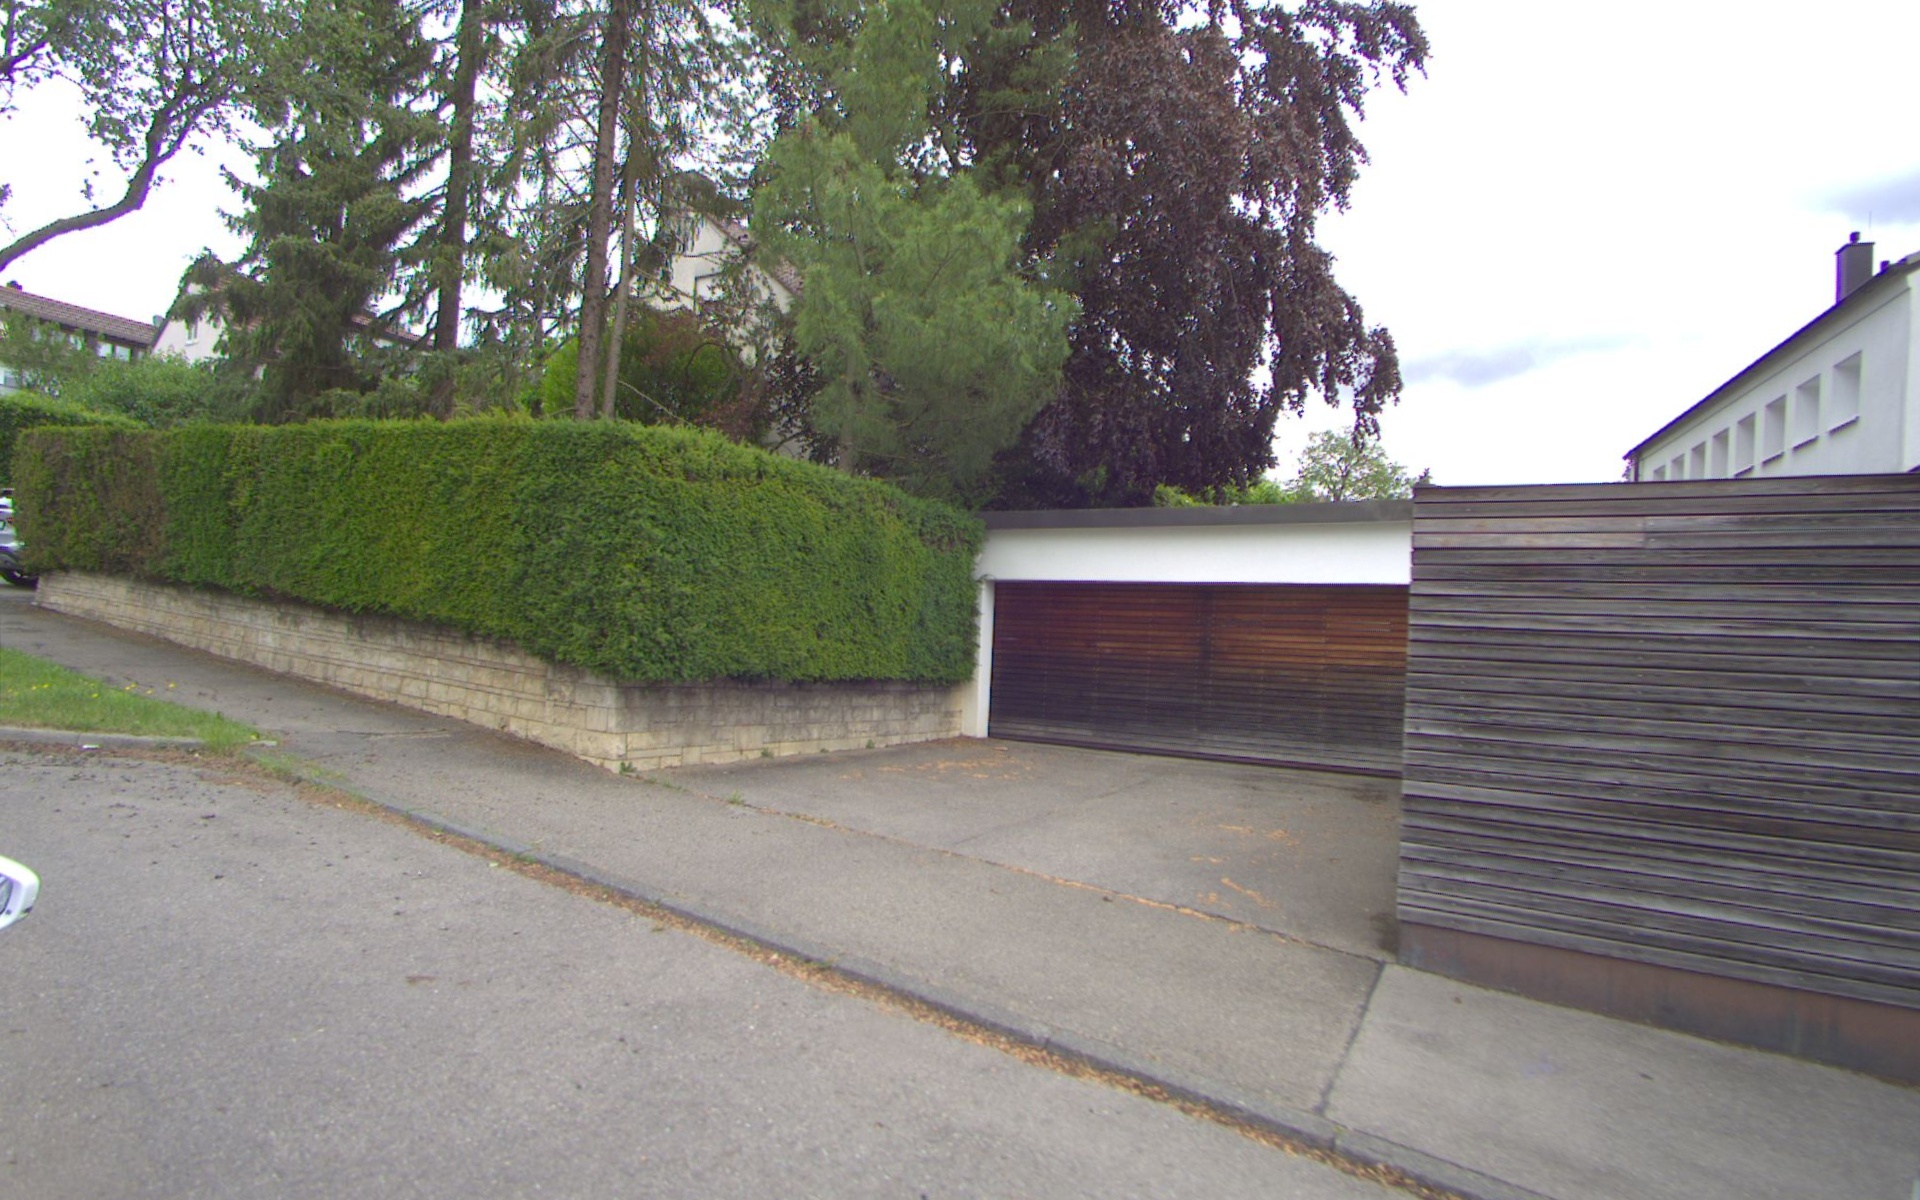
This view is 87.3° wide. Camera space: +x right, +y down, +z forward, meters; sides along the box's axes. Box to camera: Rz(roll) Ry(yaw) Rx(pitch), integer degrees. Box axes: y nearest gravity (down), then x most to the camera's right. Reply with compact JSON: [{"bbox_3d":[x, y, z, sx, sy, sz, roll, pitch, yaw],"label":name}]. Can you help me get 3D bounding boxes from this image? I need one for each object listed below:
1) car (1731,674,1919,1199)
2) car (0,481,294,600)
[{"bbox_3d":[3.332,1.107,0.700,4.100,1.601,1.859,6,-1,29],"label":"car"},{"bbox_3d":[-14.101,-0.960,17.139,1.847,1.620,4.217,7,1,21],"label":"car"}]
